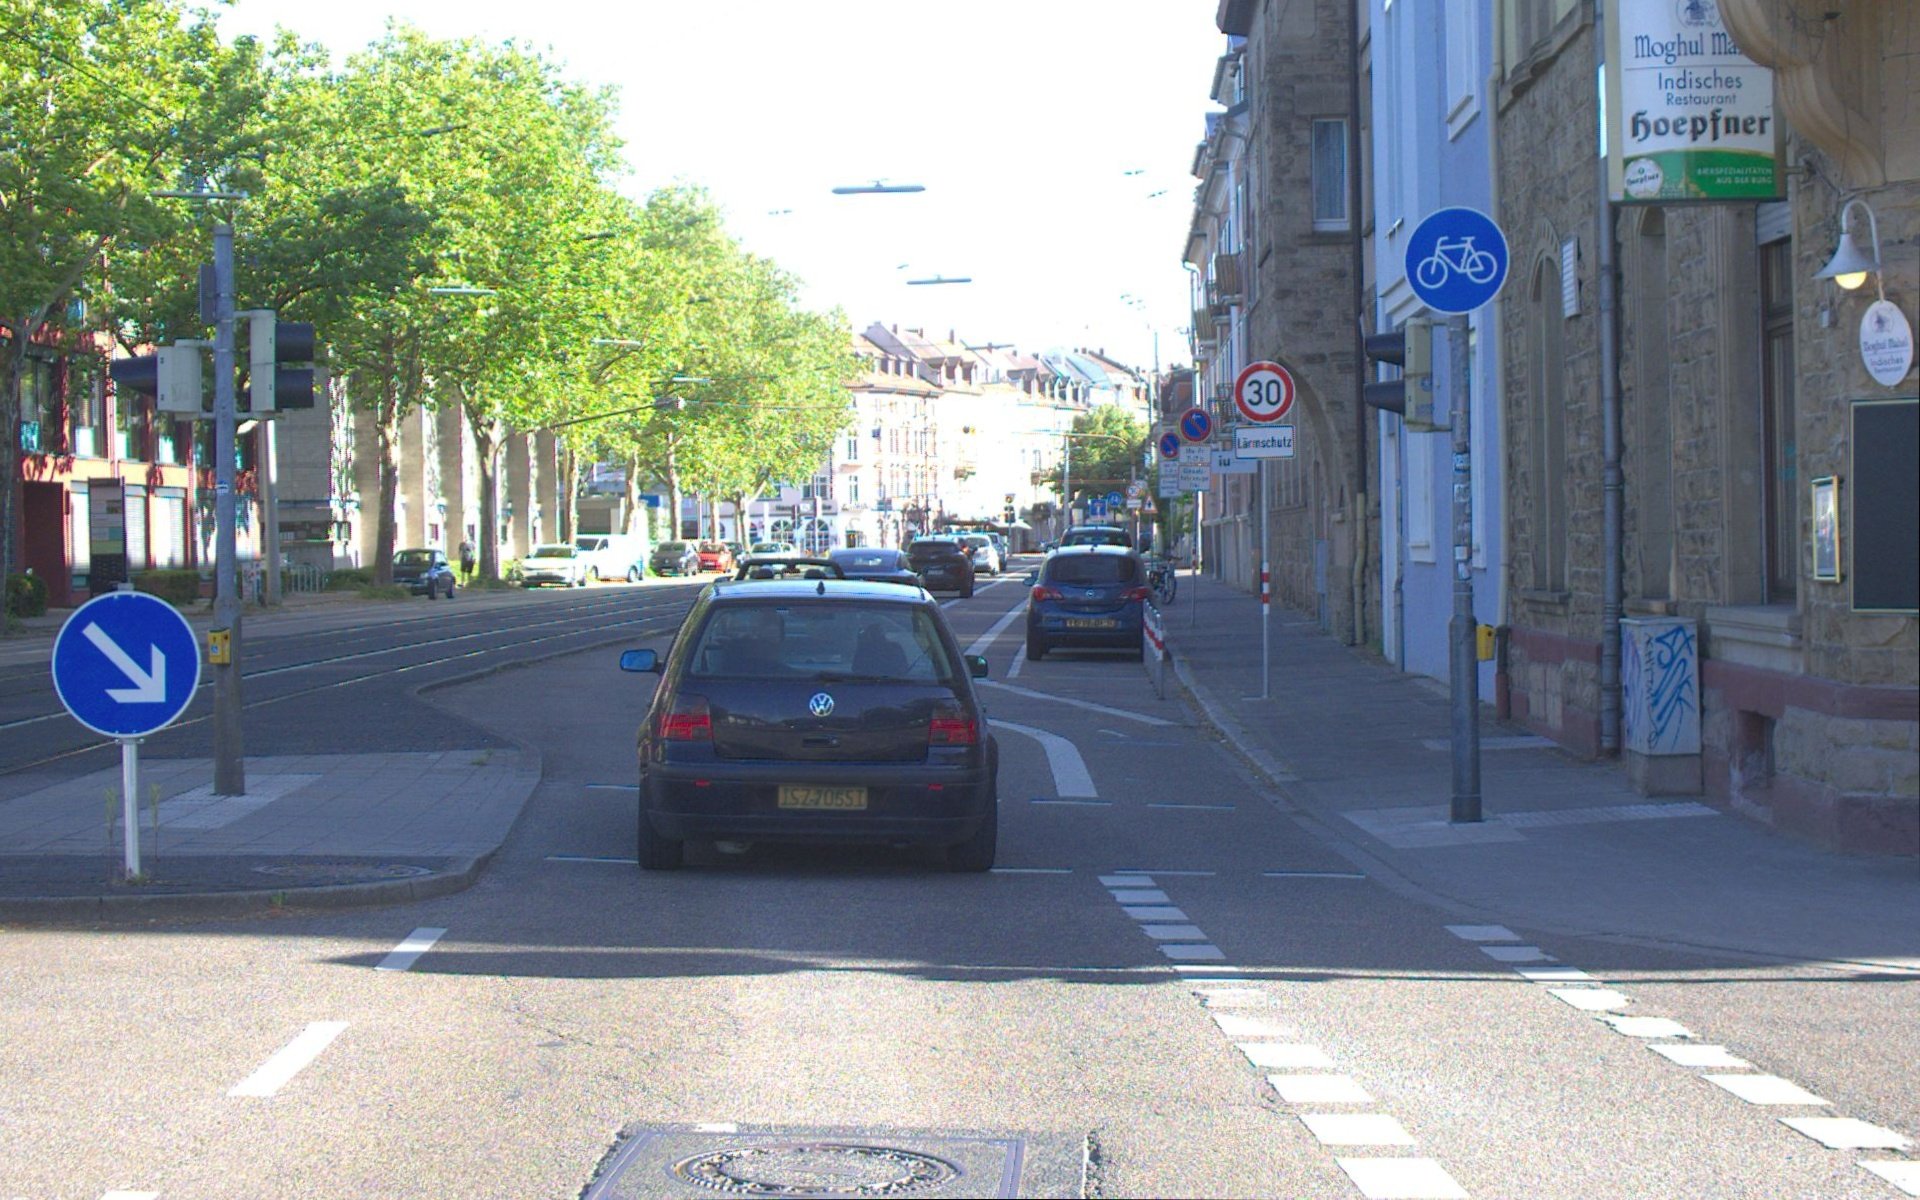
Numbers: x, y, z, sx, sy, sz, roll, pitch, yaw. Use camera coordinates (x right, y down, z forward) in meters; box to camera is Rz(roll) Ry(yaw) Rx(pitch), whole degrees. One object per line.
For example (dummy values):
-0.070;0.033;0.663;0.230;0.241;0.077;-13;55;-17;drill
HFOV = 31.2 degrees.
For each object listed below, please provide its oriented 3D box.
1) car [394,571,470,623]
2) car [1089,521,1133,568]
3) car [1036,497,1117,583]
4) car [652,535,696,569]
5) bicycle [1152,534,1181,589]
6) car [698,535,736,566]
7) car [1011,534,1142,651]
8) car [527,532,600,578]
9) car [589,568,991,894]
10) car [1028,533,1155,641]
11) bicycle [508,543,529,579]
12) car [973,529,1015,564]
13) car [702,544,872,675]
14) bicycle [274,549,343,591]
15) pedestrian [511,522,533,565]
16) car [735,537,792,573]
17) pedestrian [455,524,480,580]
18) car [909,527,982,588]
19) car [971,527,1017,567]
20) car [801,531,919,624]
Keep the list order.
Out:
-15.422;-0.071;100.502;1.507;1.449;3.463;-1;-1;3;car
6.143;-2.262;140.043;1.759;1.831;3.547;1;2;2;car
2.628;-1.349;76.663;1.753;1.849;4.815;0;1;3;car
-13.246;-2.214;159.356;1.570;1.528;3.572;-1;0;2;car
4.448;-0.840;74.275;0.515;1.136;2.259;-2;1;2;bicycle
-12.428;-2.525;175.918;1.570;1.528;3.572;-1;0;2;car
1.553;-0.134;45.814;1.655;1.477;4.000;0;1;2;car
-14.377;-1.640;124.815;2.012;1.567;4.693;1;2;1;car
-0.750;0.575;17.495;1.748;1.370;4.000;-1;1;1;car
2.000;-0.230;51.340;1.753;1.495;4.196;1;1;4;car
-15.315;-1.369;119.269;0.581;1.204;1.654;1;2;-4;bicycle
1.465;-2.310;147.060;1.636;1.467;3.729;-1;1;2;car
-2.154;0.086;43.747;1.749;1.532;3.891;-1;1;3;car
-20.320;-0.938;107.256;2.008;1.274;0.664;1;1;3;bicycle
-18.629;-2.403;146.151;0.796;1.814;0.670;1;1;2;pedestrian
-8.898;-2.038;155.749;1.753;1.513;4.070;-3;1;8;car
-16.761;-1.636;116.937;0.784;1.863;0.671;1;1;-12;pedestrian
-0.355;-1.070;86.051;1.636;1.467;3.729;-1;1;2;car
1.310;-2.047;131.306;1.636;1.467;3.729;-1;1;2;car
-1.735;-0.423;60.601;1.749;1.532;3.891;-1;1;3;car
